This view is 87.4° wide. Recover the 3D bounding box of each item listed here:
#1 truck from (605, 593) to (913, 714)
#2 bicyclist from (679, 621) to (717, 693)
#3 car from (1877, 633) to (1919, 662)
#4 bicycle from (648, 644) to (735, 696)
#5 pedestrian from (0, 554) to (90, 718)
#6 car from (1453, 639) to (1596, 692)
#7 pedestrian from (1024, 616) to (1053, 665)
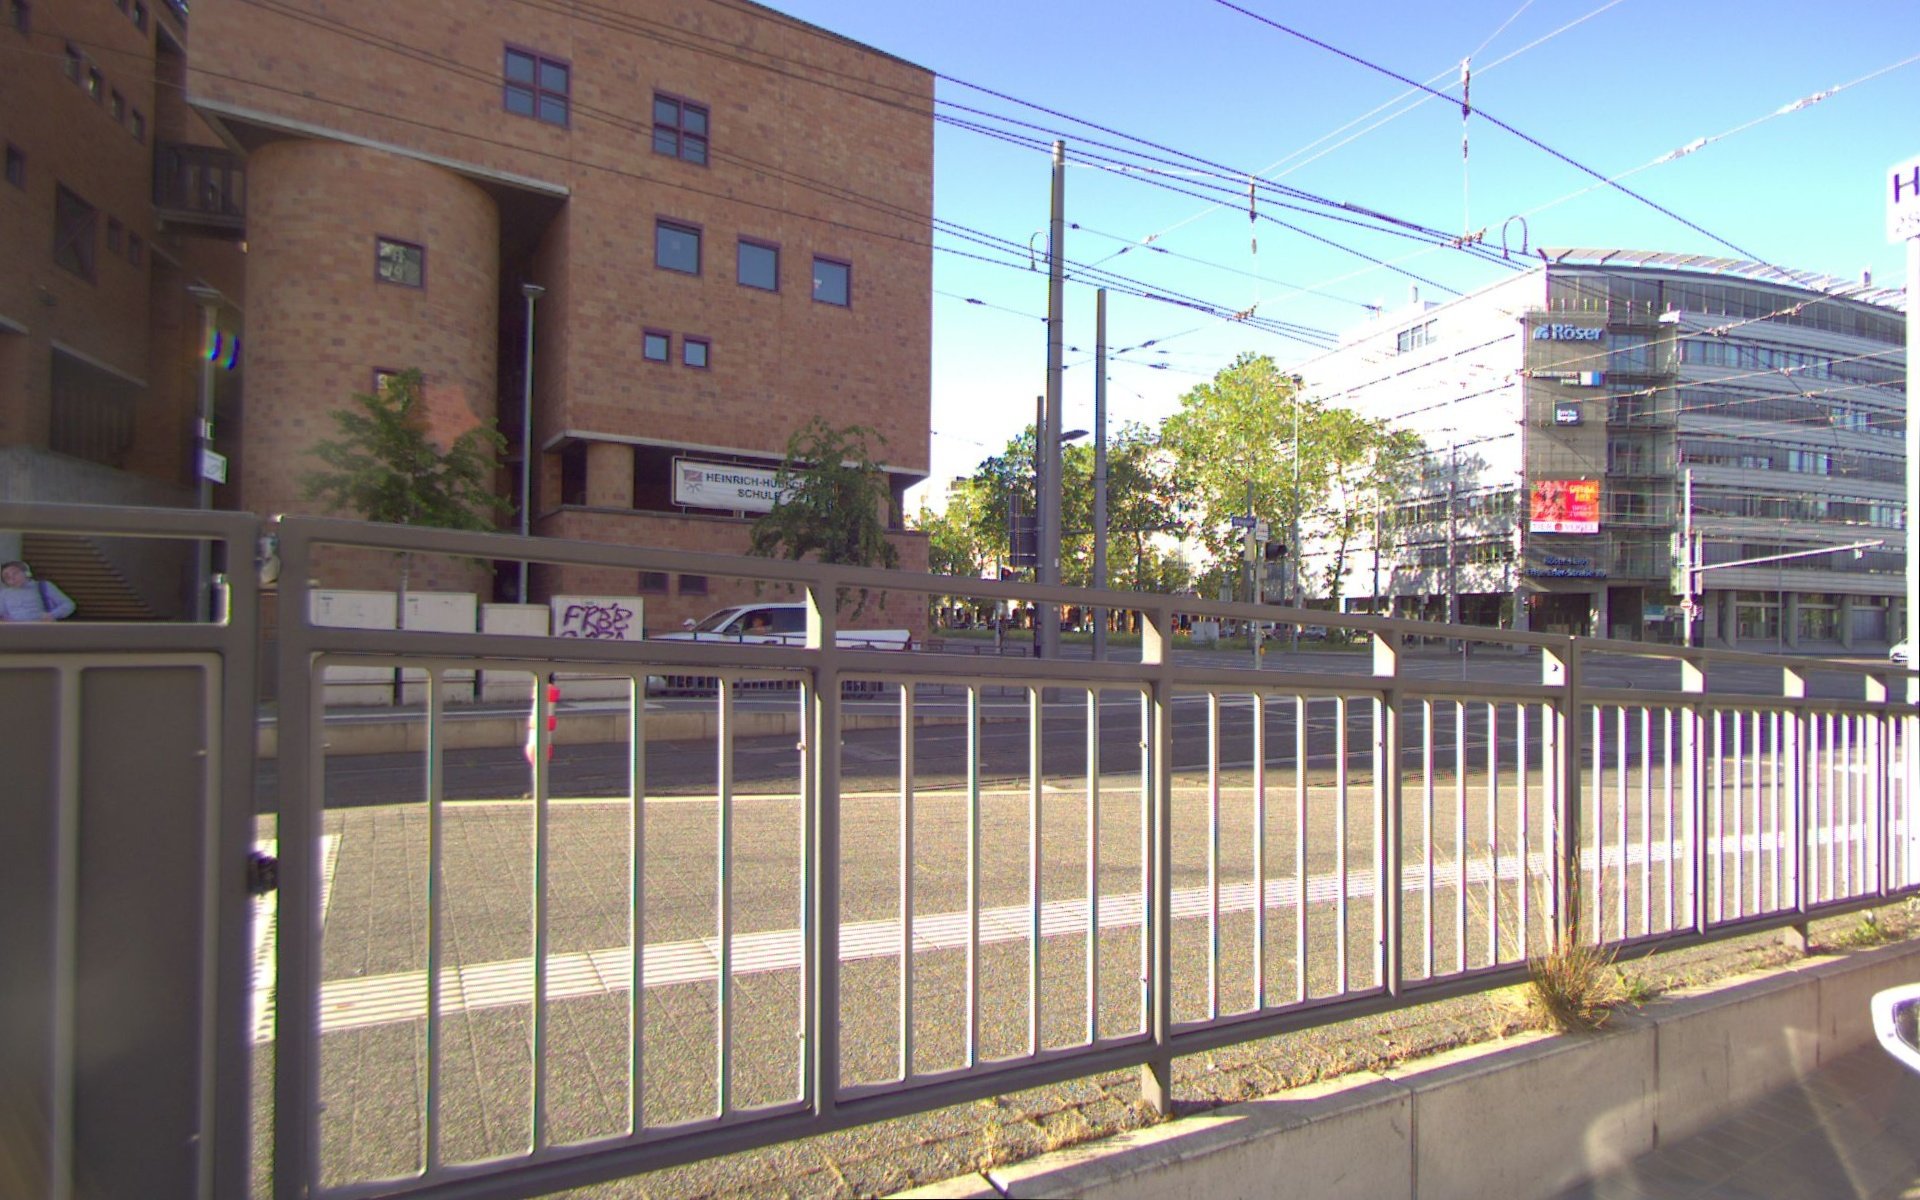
[{"bbox_3d":[-3.532,0.943,18.114,5.101,1.904,1.982,1,-3,-34],"label":"truck"},{"bbox_3d":[-5.779,1.249,22.152,0.642,1.554,0.584,2,0,-30],"label":"bicyclist"},{"bbox_3d":[50.366,2.470,52.736,4.470,1.449,1.819,1,-1,-26],"label":"car"},{"bbox_3d":[-5.908,1.532,22.147,1.793,1.104,0.458,2,-3,-30],"label":"bicycle"},{"bbox_3d":[-9.670,0.370,10.546,0.679,1.656,0.662,2,0,-34],"label":"pedestrian"},{"bbox_3d":[13.674,1.561,24.387,2.841,1.077,1.238,2,0,40],"label":"car"},{"bbox_3d":[2.808,1.451,35.931,0.785,1.714,0.587,2,0,-29],"label":"pedestrian"}]
